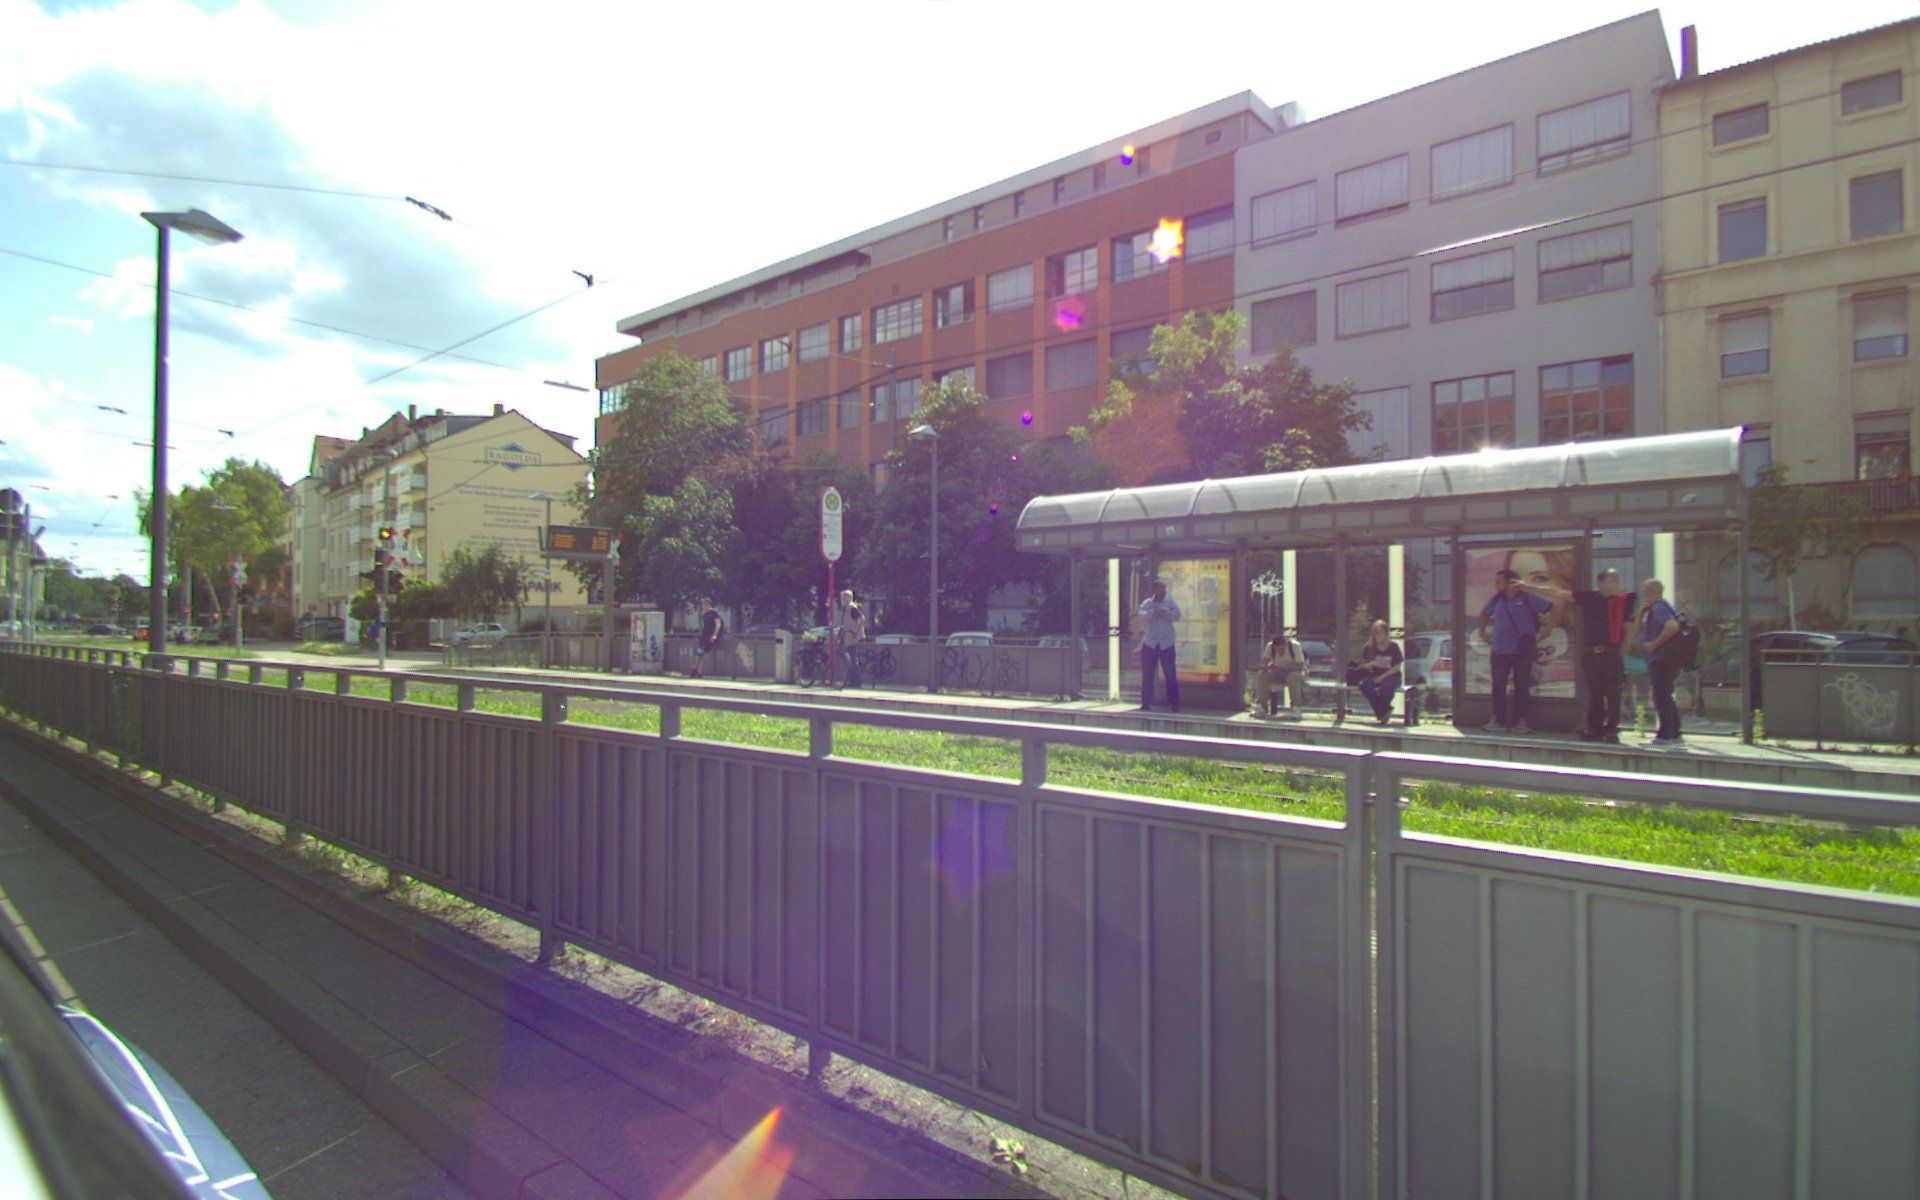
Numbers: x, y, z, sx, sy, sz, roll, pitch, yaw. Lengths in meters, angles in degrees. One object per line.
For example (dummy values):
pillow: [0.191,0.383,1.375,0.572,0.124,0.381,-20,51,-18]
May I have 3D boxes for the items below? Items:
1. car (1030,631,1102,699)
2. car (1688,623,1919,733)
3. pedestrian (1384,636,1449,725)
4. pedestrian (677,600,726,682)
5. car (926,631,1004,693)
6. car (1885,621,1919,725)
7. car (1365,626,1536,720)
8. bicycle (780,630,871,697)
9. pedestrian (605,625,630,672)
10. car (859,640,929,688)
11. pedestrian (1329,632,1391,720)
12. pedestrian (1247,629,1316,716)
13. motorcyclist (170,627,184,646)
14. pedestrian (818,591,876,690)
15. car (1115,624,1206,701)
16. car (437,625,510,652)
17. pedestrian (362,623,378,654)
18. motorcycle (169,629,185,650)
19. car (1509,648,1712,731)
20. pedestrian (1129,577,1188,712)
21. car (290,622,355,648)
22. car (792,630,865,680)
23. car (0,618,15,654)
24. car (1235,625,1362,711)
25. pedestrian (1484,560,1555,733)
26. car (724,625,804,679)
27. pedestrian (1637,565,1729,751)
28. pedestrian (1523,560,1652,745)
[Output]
car: [2.591,1.570,25.214,1.651,1.420,3.063,1,0,5]
car: [13.968,1.173,16.512,1.590,1.580,3.991,-1,-2,7]
pedestrian: [5.420,0.943,12.019,0.562,1.002,0.698,-1,-3,38]
pedestrian: [-5.554,0.869,21.757,0.798,1.712,0.659,-1,-2,38]
car: [0.203,1.637,27.504,1.568,1.431,3.302,-1,0,10]
car: [16.180,1.132,14.648,1.809,1.652,4.134,1,-2,1]
car: [9.619,1.374,20.203,1.651,1.540,3.995,-1,0,4]
bicycle: [-2.413,1.099,17.982,0.653,1.122,1.880,4,-3,-41]
pedestrian: [-13.395,1.887,39.622,0.619,1.807,0.651,-2,-4,35]
car: [-1.898,1.839,29.774,1.583,1.314,3.247,0,-2,5]
pedestrian: [4.935,0.922,12.478,0.562,1.039,0.647,-1,-3,38]
pedestrian: [4.047,0.897,12.715,0.623,1.039,0.712,-1,-3,38]
motorcyclist: [-56.307,2.629,72.785,0.693,1.368,0.654,-1,0,43]
pedestrian: [-2.031,0.720,18.169,0.798,1.737,0.632,-1,-2,38]
car: [4.729,1.440,24.346,1.651,1.652,3.994,1,-2,4]
car: [-29.016,2.271,60.384,3.558,1.491,1.777,2,-6,-43]
pedestrian: [-32.625,2.127,55.978,0.481,1.723,0.641,-2,-2,41]
motorcycle: [-56.290,2.829,72.758,2.010,1.414,0.626,0,0,43]
car: [11.894,1.584,18.844,1.774,1.159,3.986,-1,0,11]
pedestrian: [2.650,0.583,13.491,0.623,1.739,0.481,-1,-1,38]
car: [-51.466,2.811,81.733,4.195,2.029,2.003,1,-2,-40]
car: [-4.178,1.729,32.655,1.629,1.508,3.996,0,-2,3]
car: [-56.961,2.132,59.544,1.970,2.029,4.004,-1,0,-43]
car: [7.226,1.394,21.977,1.651,1.540,3.995,-1,0,4]
pedestrian: [6.178,0.504,11.173,0.623,1.841,0.438,-1,-2,38]
car: [-6.398,1.671,33.428,1.850,1.671,3.841,0,-2,1]
pedestrian: [6.649,0.524,9.335,0.556,1.645,0.593,-1,-3,26]
pedestrian: [6.318,0.510,10.204,1.035,1.756,0.626,-1,-2,38]
